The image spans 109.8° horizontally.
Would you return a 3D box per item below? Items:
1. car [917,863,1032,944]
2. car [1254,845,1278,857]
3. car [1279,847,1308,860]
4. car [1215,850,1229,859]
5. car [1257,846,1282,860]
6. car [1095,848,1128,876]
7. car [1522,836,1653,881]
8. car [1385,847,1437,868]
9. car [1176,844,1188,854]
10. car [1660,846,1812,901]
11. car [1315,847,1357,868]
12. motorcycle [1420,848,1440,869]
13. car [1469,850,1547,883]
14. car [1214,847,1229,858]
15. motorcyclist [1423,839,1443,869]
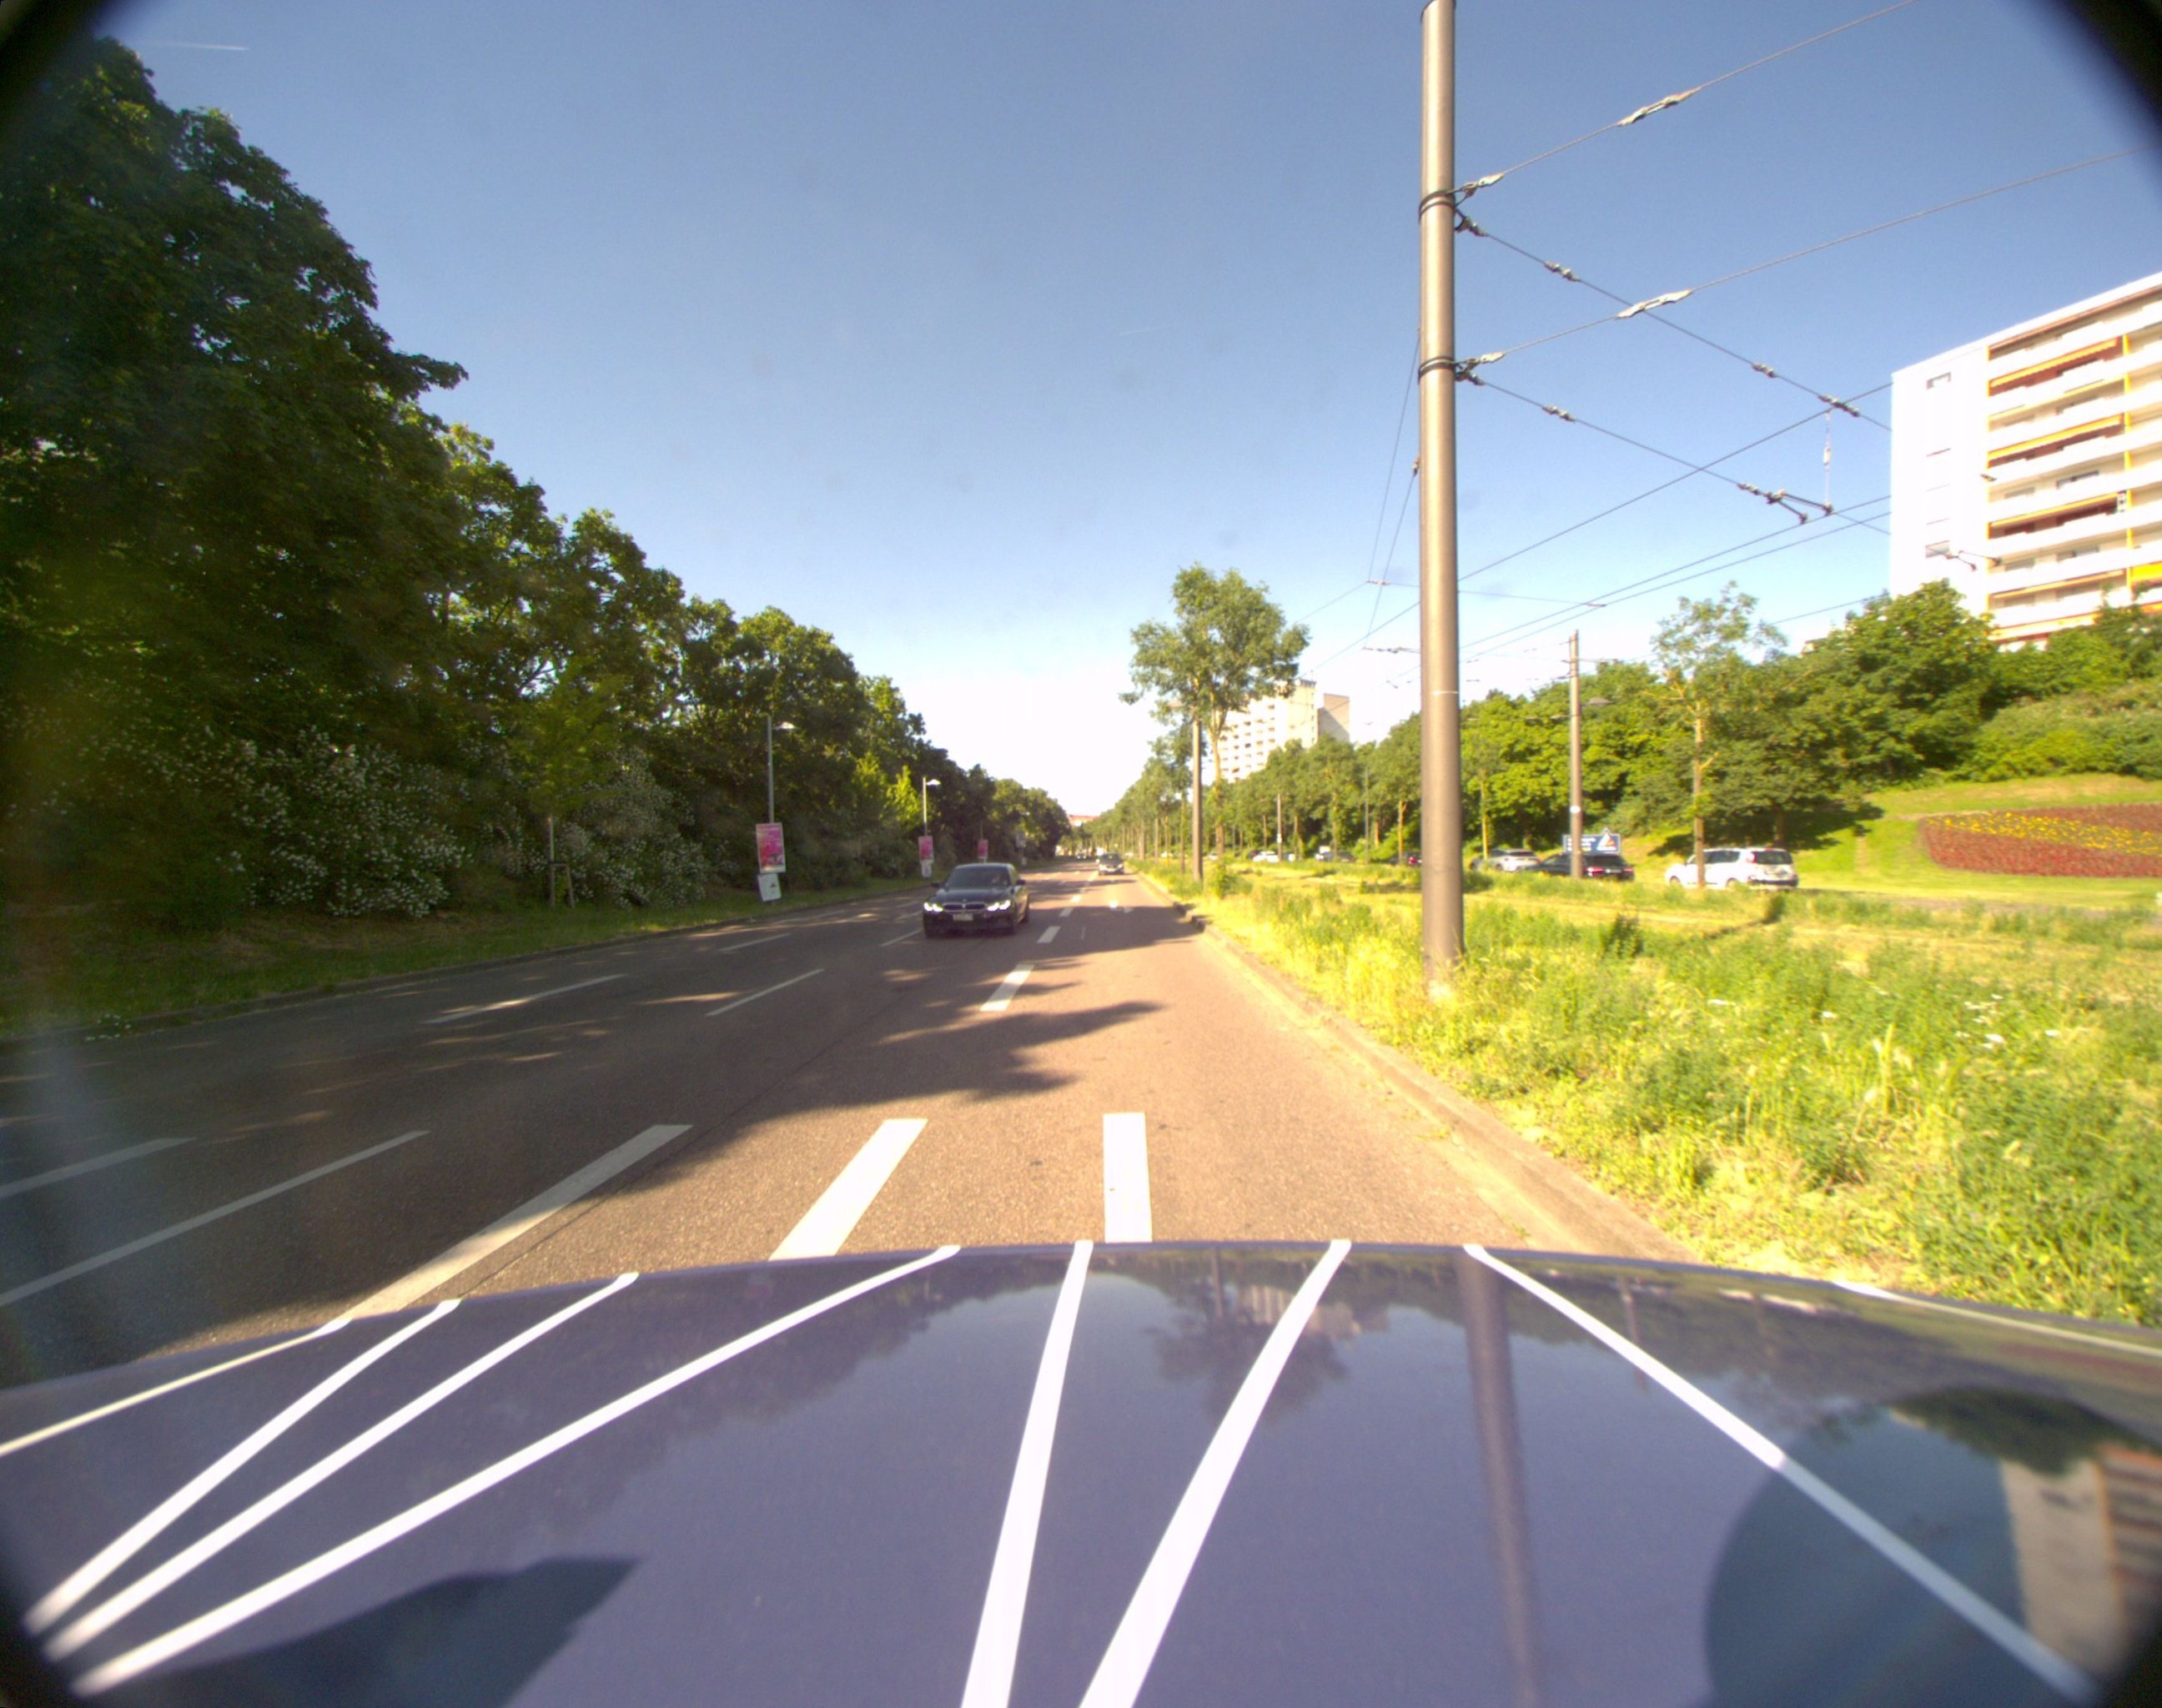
[{"bbox_3d":[-2.183,0.968,16.672,1.831,1.401,4.216,-2,1,1],"label":"car"},{"bbox_3d":[23.987,-0.446,98.663,1.998,1.472,4.631,-2,1,2],"label":"car"},{"bbox_3d":[23.420,-0.104,83.948,1.998,1.424,4.693,0,1,2],"label":"car"},{"bbox_3d":[22.193,0.032,119.534,1.661,1.290,4.177,-1,0,3],"label":"car"},{"bbox_3d":[20.065,-0.125,80.976,1.707,1.414,4.643,-1,0,2],"label":"car"},{"bbox_3d":[1.976,0.476,50.453,1.998,1.696,3.999,-2,1,1],"label":"car"},{"bbox_3d":[18.888,0.123,28.639,1.880,1.477,4.604,-2,1,1],"label":"car"},{"bbox_3d":[22.306,0.221,51.538,1.866,1.334,4.031,0,1,1],"label":"car"},{"bbox_3d":[17.742,-0.867,133.200,1.767,1.599,3.758,0,1,2],"label":"car"},{"bbox_3d":[22.152,0.602,25.948,1.805,1.698,4.060,0,1,2],"label":"car"},{"bbox_3d":[19.484,0.245,58.274,1.998,1.585,4.465,0,1,4],"label":"car"},{"bbox_3d":[19.203,0.221,41.863,0.422,1.125,2.096,-2,1,9],"label":"motorcycle"},{"bbox_3d":[22.363,0.611,39.984,1.842,1.592,4.438,-1,1,4],"label":"car"},{"bbox_3d":[19.906,-0.261,108.100,1.592,1.464,4.183,-1,0,3],"label":"car"},{"bbox_3d":[19.420,-0.008,41.926,0.836,1.590,0.640,-2,1,9],"label":"motorcyclist"}]
